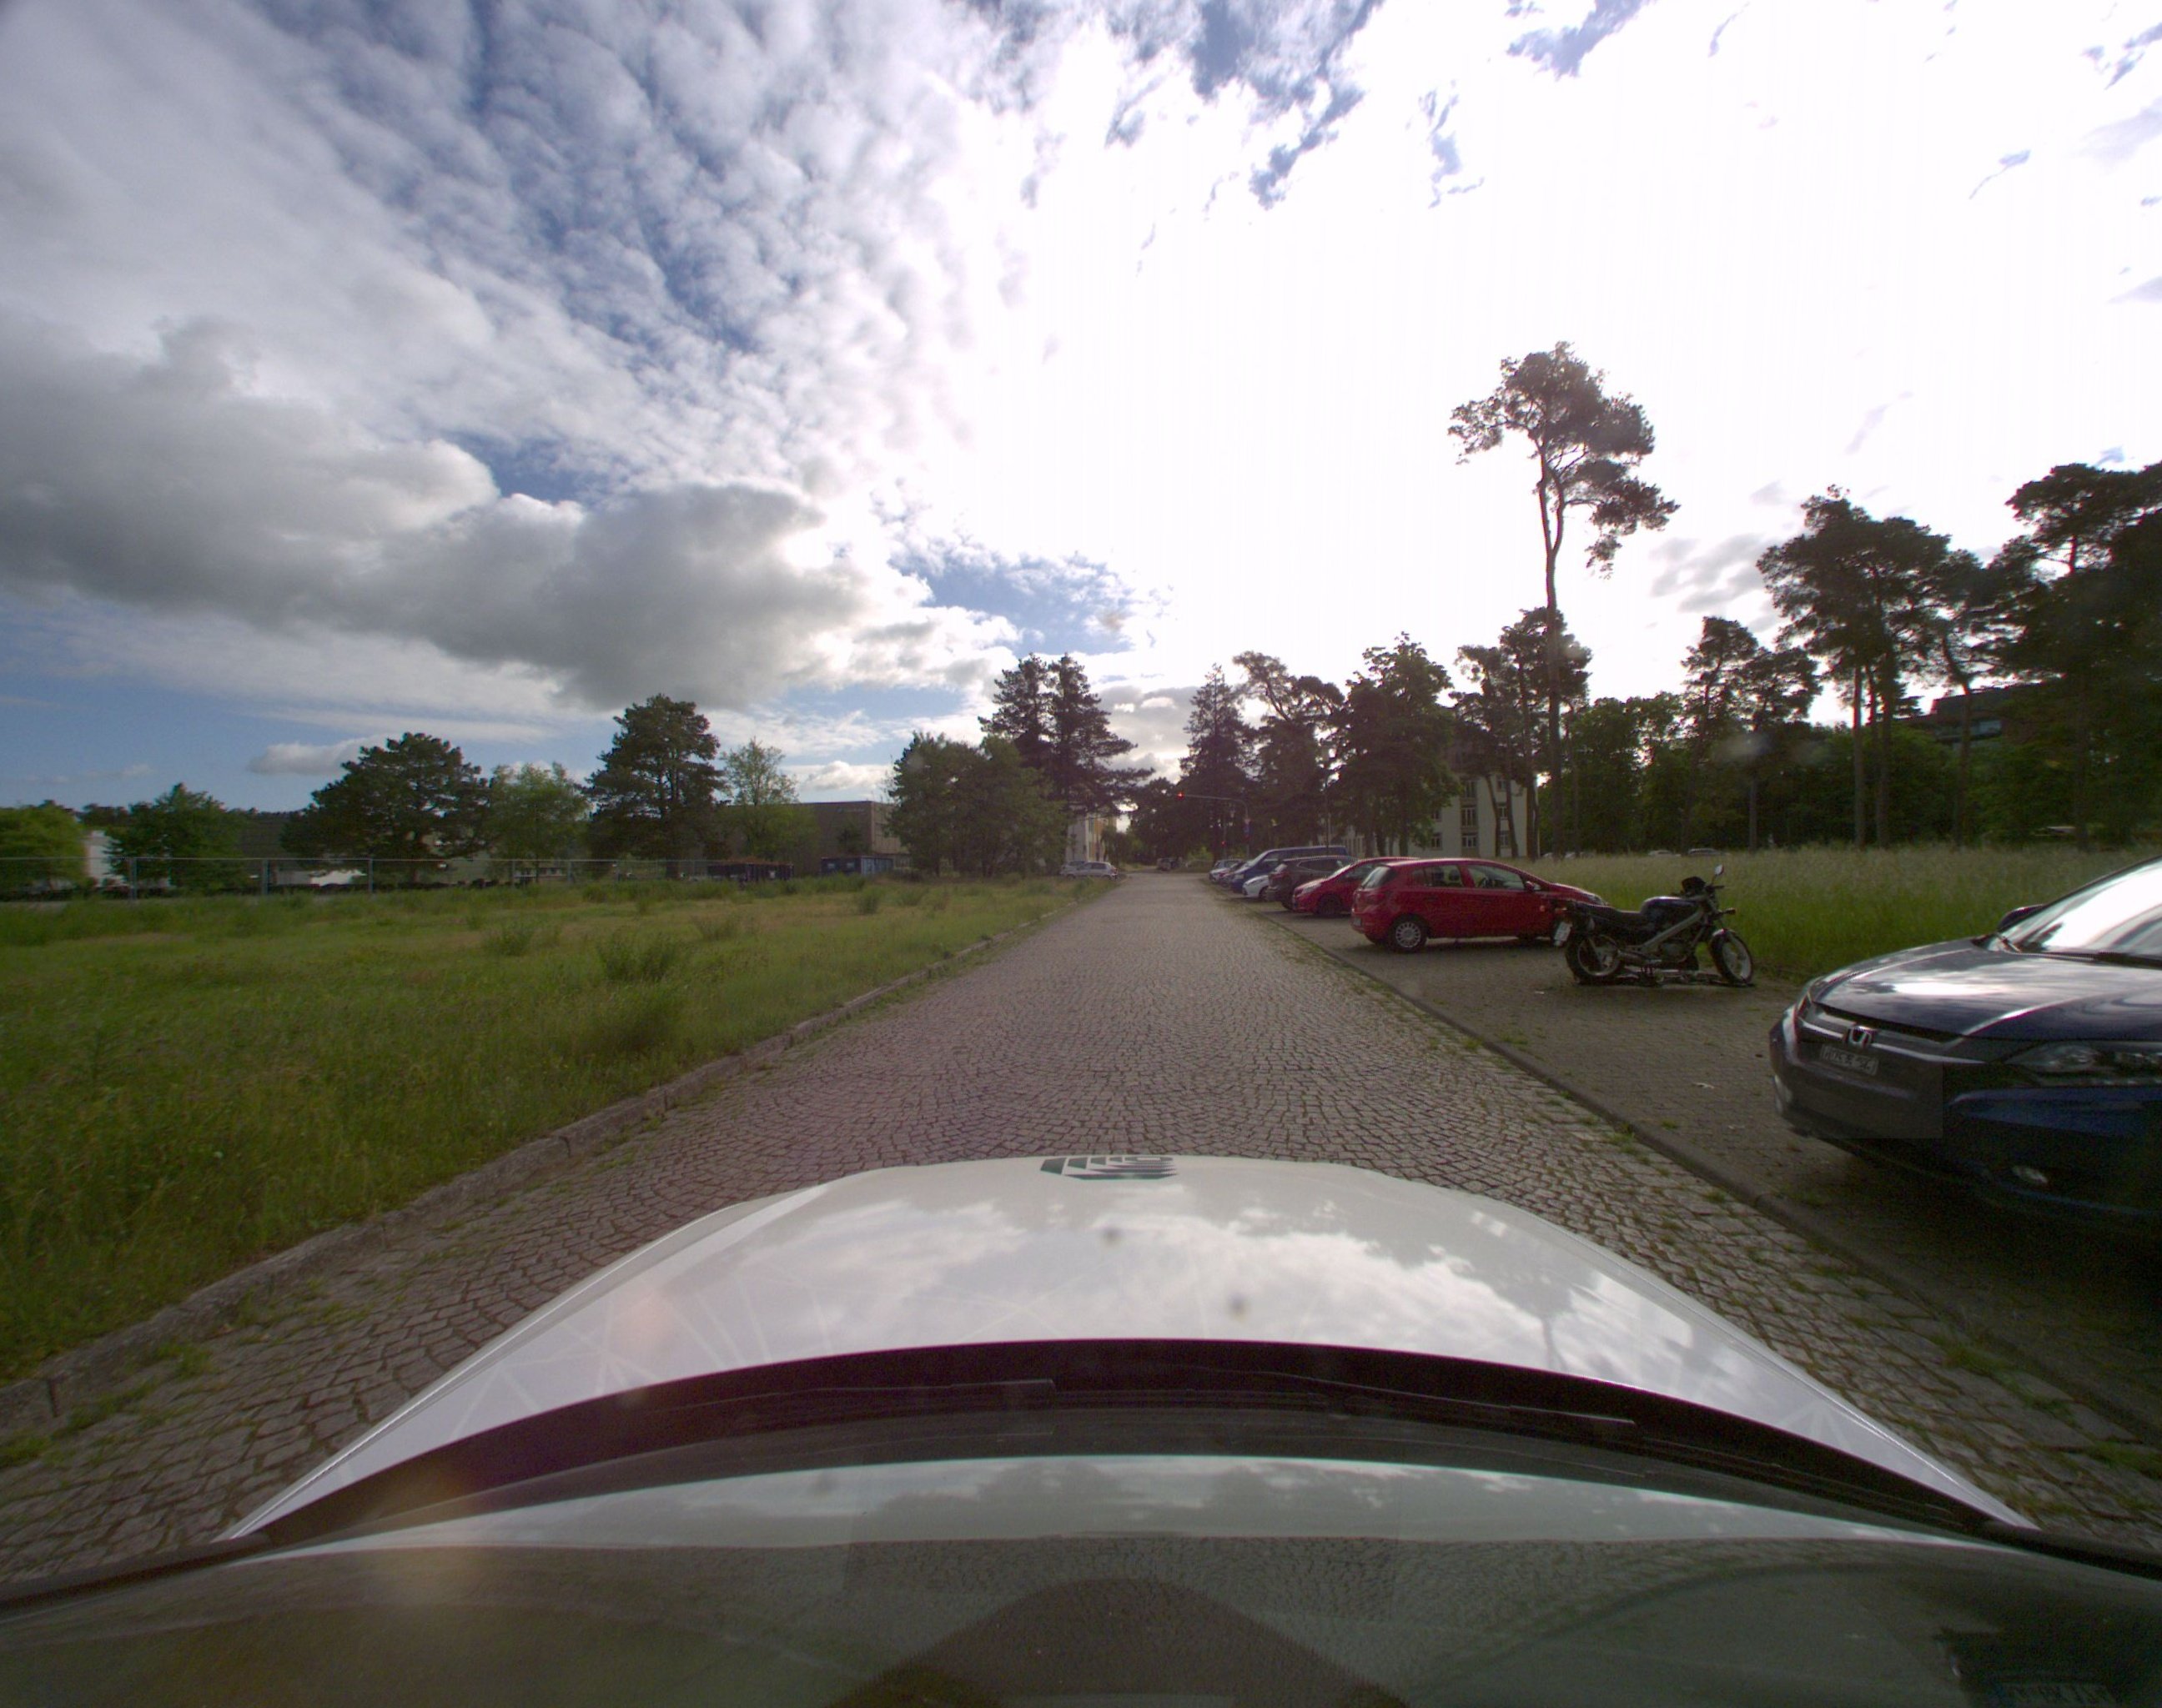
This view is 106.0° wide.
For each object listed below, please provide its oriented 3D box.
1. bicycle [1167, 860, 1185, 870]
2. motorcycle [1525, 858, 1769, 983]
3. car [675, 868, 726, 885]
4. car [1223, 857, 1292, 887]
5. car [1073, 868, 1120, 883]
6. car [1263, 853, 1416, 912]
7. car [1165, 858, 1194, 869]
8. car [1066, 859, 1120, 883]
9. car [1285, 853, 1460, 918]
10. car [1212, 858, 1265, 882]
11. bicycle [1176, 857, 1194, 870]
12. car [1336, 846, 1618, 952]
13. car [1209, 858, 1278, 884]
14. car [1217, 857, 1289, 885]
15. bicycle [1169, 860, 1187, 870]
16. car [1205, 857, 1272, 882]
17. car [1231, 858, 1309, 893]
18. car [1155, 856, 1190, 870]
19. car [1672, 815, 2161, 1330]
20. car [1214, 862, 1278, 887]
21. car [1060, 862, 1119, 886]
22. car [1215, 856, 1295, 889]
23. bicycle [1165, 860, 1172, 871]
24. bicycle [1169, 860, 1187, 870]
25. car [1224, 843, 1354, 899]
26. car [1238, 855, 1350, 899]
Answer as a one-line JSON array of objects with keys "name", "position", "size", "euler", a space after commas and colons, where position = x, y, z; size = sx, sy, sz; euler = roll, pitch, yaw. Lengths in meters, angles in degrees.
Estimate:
[{"name": "bicycle", "position": [12.509, 1.420, 107.243], "size": [2.154, 1.268, 0.812], "euler": [-1, -1, -1]}, {"name": "motorcycle", "position": [6.253, 0.720, 9.065], "size": [2.257, 1.275, 0.606], "euler": [-2, -1, 0]}, {"name": "car", "position": [-36.083, 2.120, 77.337], "size": [3.968, 1.553, 1.811], "euler": [-1, 0, 5]}, {"name": "car", "position": [9.484, 0.965, 43.892], "size": [3.287, 1.504, 1.661], "euler": [-1, 0, -5]}, {"name": "car", "position": [1.235, 1.703, 64.214], "size": [3.659, 1.094, 1.646], "euler": [-1, 0, -1]}, {"name": "car", "position": [7.444, 0.805, 23.742], "size": [3.932, 1.580, 1.764], "euler": [-1, -1, 4]}, {"name": "car", "position": [14.446, 1.384, 119.885], "size": [3.975, 1.644, 1.999], "euler": [-1, -1, -1]}, {"name": "car", "position": [0.878, 1.259, 62.023], "size": [3.976, 1.750, 1.926], "euler": [-1, -1, -2]}, {"name": "car", "position": [7.448, 0.793, 21.112], "size": [3.967, 1.518, 1.741], "euler": [-1, 0, 5]}, {"name": "car", "position": [10.840, 1.075, 56.327], "size": [3.378, 1.543, 1.391], "euler": [-1, 0, 0]}, {"name": "bicycle", "position": [13.612, 1.233, 106.637], "size": [2.154, 1.616, 0.812], "euler": [-1, -1, -1]}, {"name": "car", "position": [6.405, 0.716, 13.531], "size": [3.822, 1.505, 1.740], "euler": [-2, 0, 4]}, {"name": "car", "position": [10.113, 1.045, 50.983], "size": [3.974, 1.543, 1.664], "euler": [-1, 0, 0]}, {"name": "car", "position": [10.240, 1.014, 48.719], "size": [3.974, 1.543, 1.664], "euler": [-1, -1, 0]}, {"name": "bicycle", "position": [12.619, 1.397, 106.012], "size": [2.154, 1.268, 0.812], "euler": [-1, -1, -1]}, {"name": "car", "position": [10.349, 1.015, 53.787], "size": [4.109, 1.543, 1.664], "euler": [-1, 0, 0]}, {"name": "car", "position": [8.746, 0.982, 37.933], "size": [3.278, 1.504, 1.666], "euler": [-1, 0, 3]}, {"name": "car", "position": [13.823, 1.314, 123.240], "size": [5.042, 2.014, 1.997], "euler": [-1, -1, -5]}, {"name": "car", "position": [5.271, 0.599, 3.307], "size": [4.242, 1.573, 1.898], "euler": [-3, 0, 5]}, {"name": "car", "position": [9.396, 1.155, 46.535], "size": [3.282, 1.267, 1.664], "euler": [-1, 0, 0]}, {"name": "car", "position": [0.582, 1.380, 56.490], "size": [3.975, 1.552, 1.999], "euler": [-1, 0, -1]}, {"name": "car", "position": [8.727, 0.922, 40.973], "size": [3.592, 1.506, 1.661], "euler": [-1, 0, -5]}, {"name": "bicycle", "position": [10.933, 1.420, 101.794], "size": [0.805, 1.268, 1.977], "euler": [-1, -1, 7]}, {"name": "bicycle", "position": [12.562, 1.386, 105.427], "size": [2.154, 1.268, 0.812], "euler": [-1, -1, -1]}, {"name": "car", "position": [8.265, 0.668, 32.627], "size": [4.761, 2.040, 1.740], "euler": [-1, 0, 3]}, {"name": "car", "position": [7.836, 0.843, 30.155], "size": [3.707, 1.424, 1.656], "euler": [-3, -1, 3]}]
